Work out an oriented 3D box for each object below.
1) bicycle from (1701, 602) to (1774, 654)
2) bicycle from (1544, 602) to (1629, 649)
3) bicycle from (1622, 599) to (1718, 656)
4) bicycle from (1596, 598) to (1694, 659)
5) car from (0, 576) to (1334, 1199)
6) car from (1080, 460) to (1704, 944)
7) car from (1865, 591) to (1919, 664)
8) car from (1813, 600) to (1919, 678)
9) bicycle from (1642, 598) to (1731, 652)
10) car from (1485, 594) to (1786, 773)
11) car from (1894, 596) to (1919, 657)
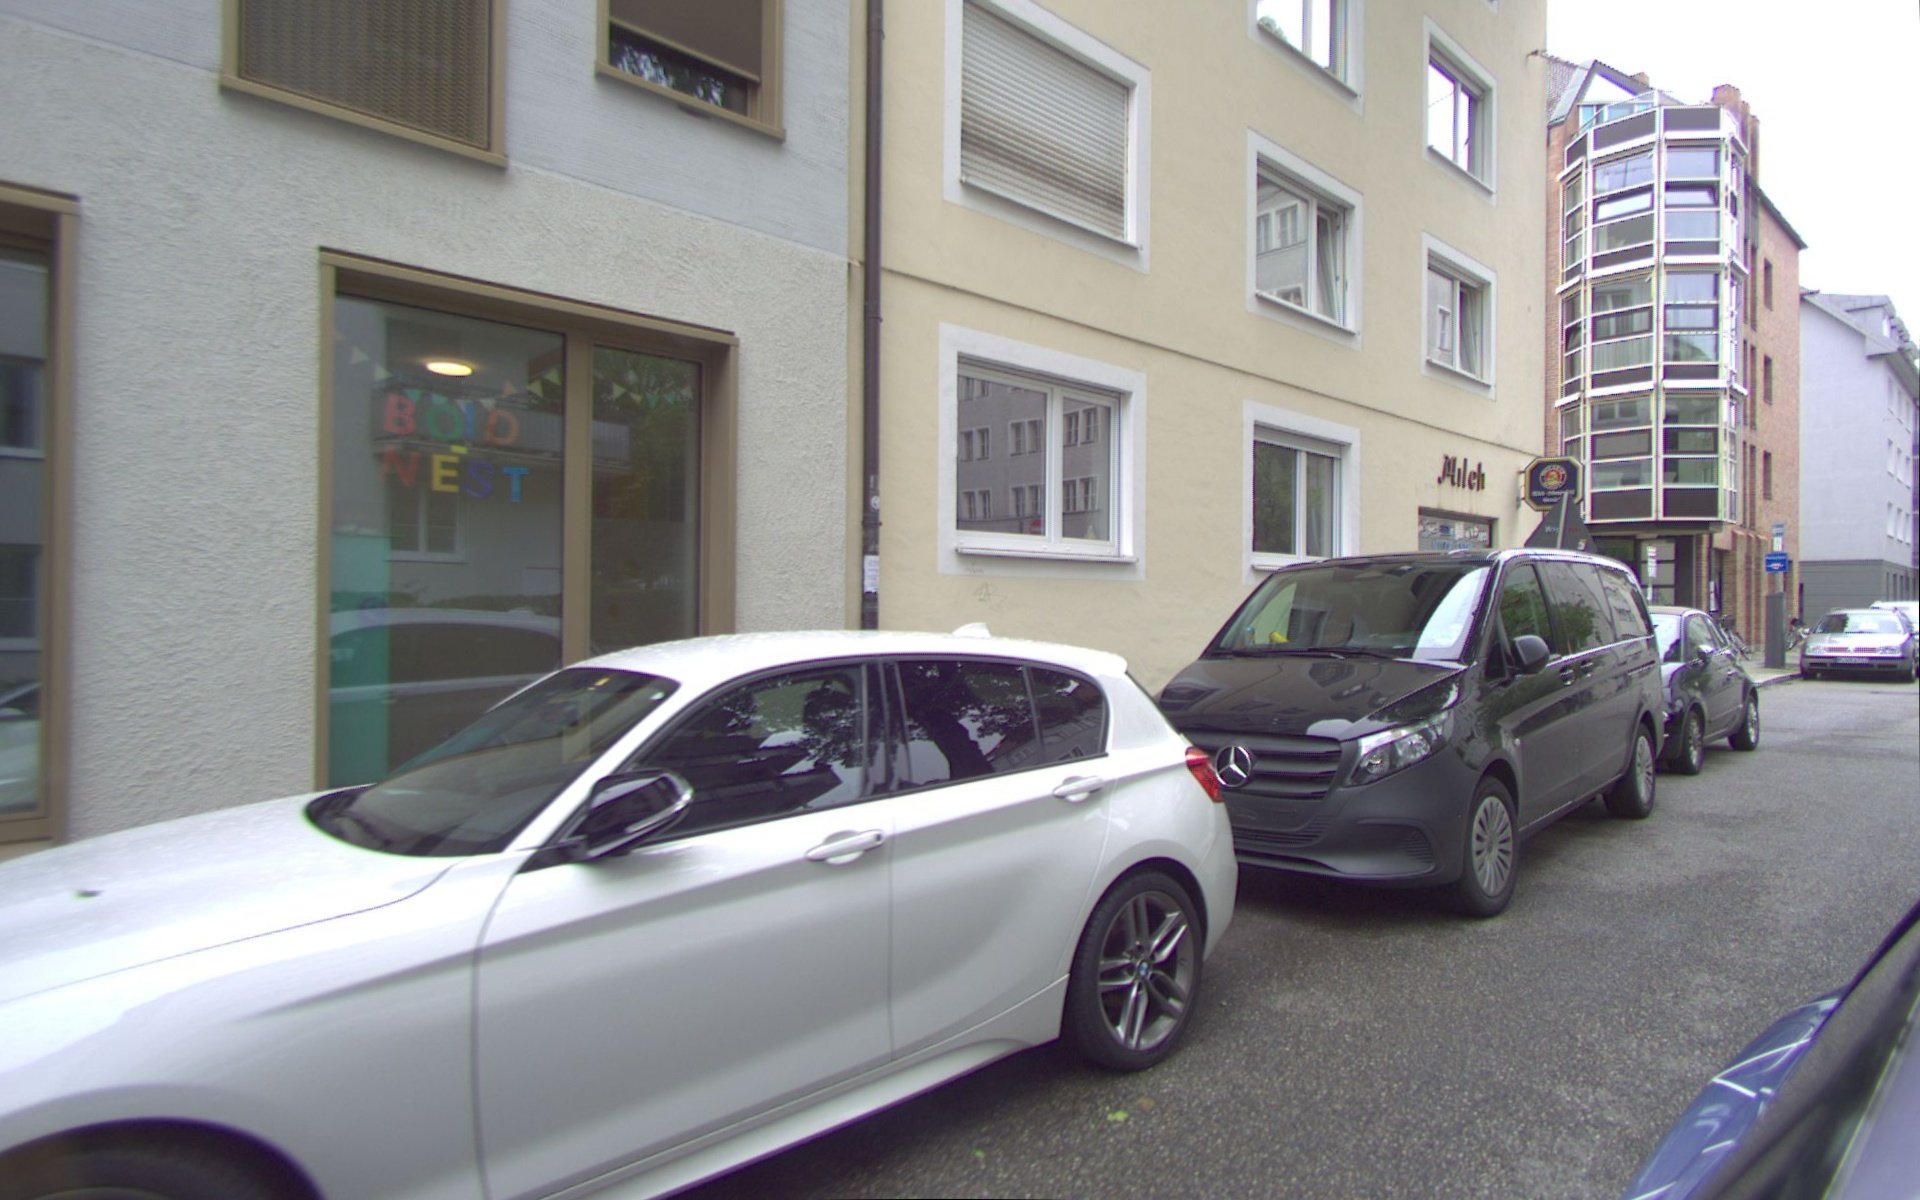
[{"bbox_3d":[19.249,0.685,25.058,1.744,1.232,0.744,0,1,-27],"label":"bicycle"},{"bbox_3d":[15.405,0.615,24.926,0.434,1.086,1.754,1,0,-35],"label":"bicycle"},{"bbox_3d":[16.407,0.613,23.431,0.434,1.201,1.755,1,2,-35],"label":"bicycle"},{"bbox_3d":[15.676,0.631,23.208,1.785,1.339,0.583,0,1,24],"label":"bicycle"},{"bbox_3d":[-0.805,0.730,3.139,4.302,1.480,1.771,0,-2,-40],"label":"car"},{"bbox_3d":[3.095,0.448,6.596,4.804,2.002,1.991,0,-2,-44],"label":"car"},{"bbox_3d":[23.180,0.625,24.338,4.380,1.636,1.722,0,-1,-43],"label":"car"},{"bbox_3d":[18.996,0.735,20.809,4.285,1.453,1.722,0,-1,-43],"label":"car"},{"bbox_3d":[17.858,0.587,24.924,0.581,1.245,1.881,0,1,-12],"label":"bicycle"},{"bbox_3d":[6.865,0.716,10.177,3.476,1.490,1.637,0,-2,-41],"label":"car"},{"bbox_3d":[26.428,0.679,27.235,3.743,1.578,1.616,0,-1,-43],"label":"car"}]
